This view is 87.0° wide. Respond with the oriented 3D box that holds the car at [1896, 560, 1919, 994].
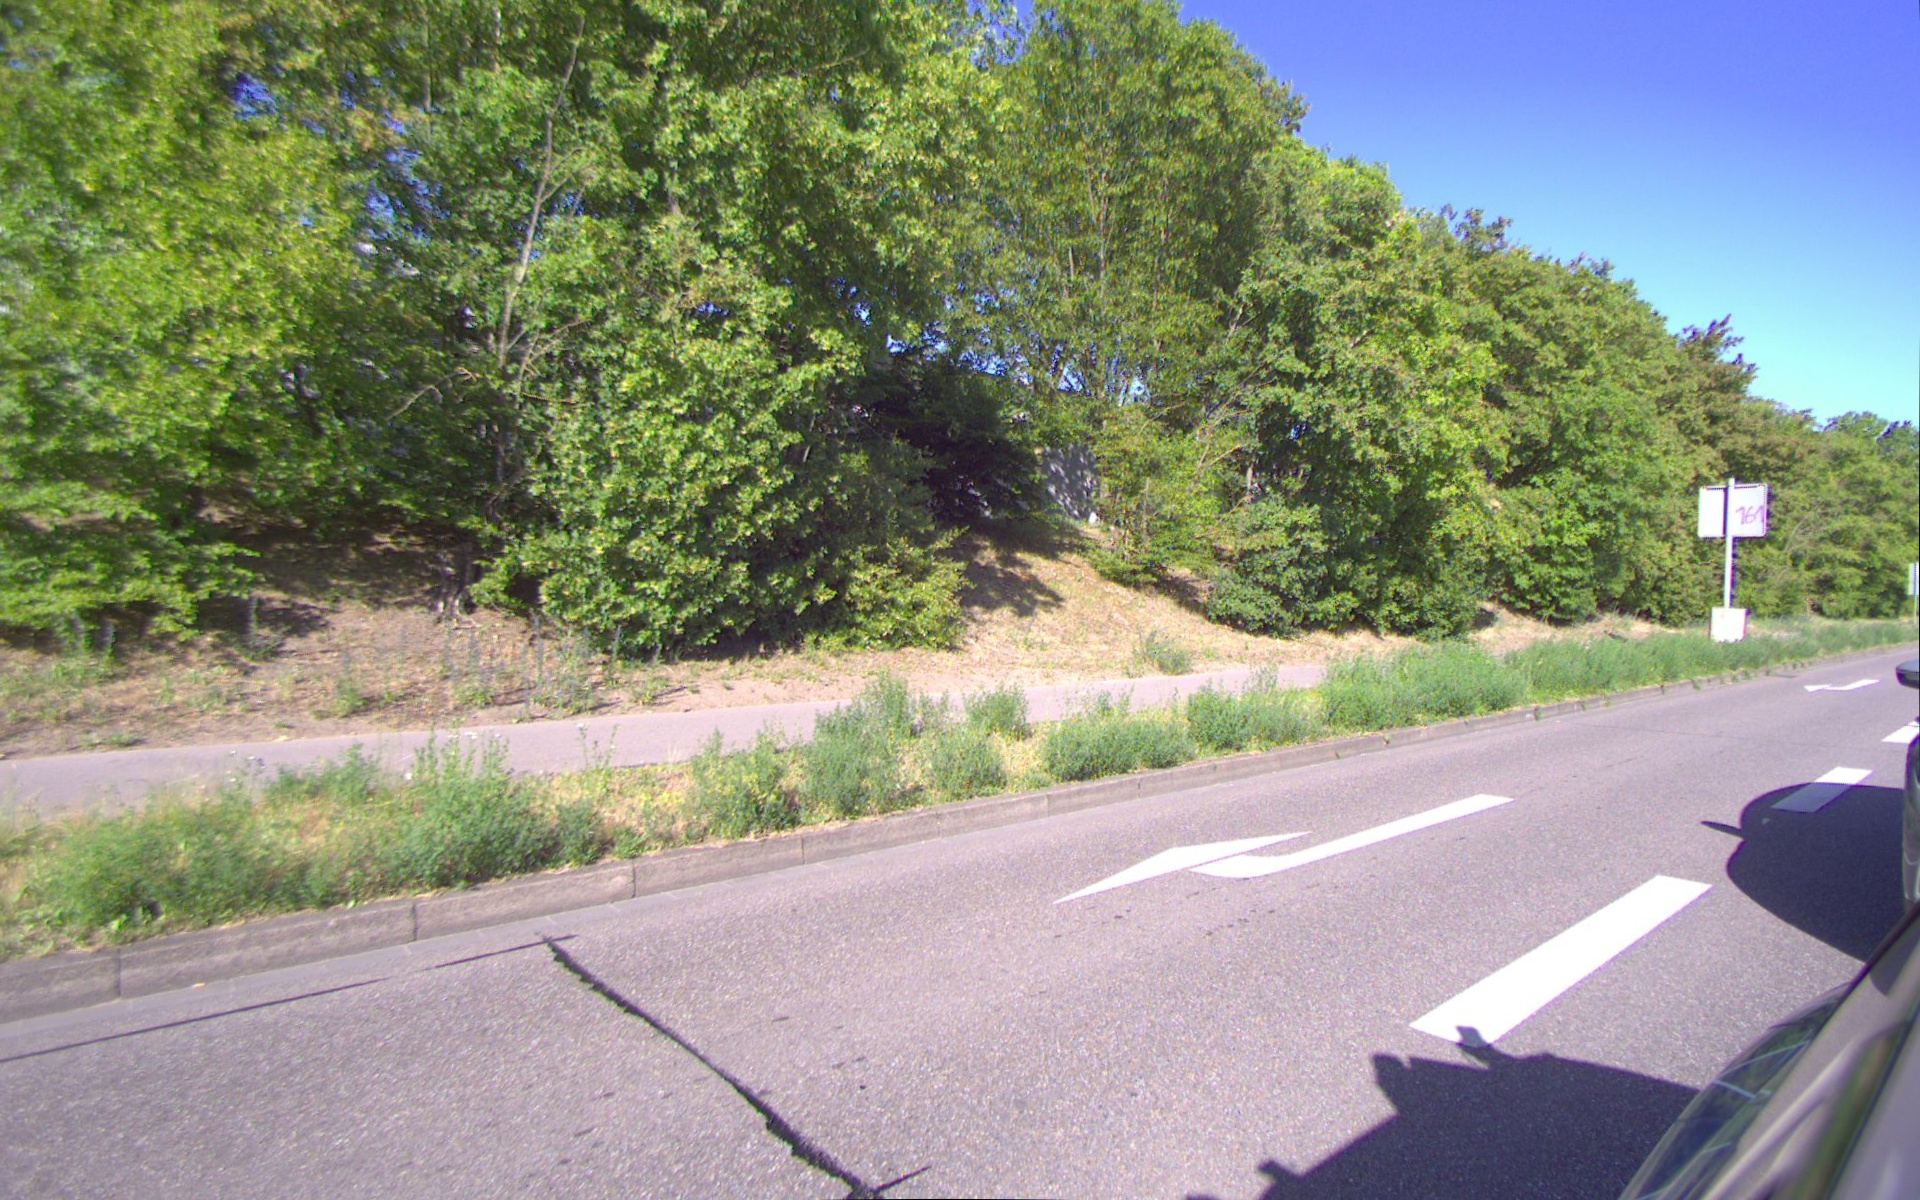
[{"bbox_3d":[5.720,0.655,4.528,4.327,1.603,1.860,0,0,-42],"label":"car"}]
